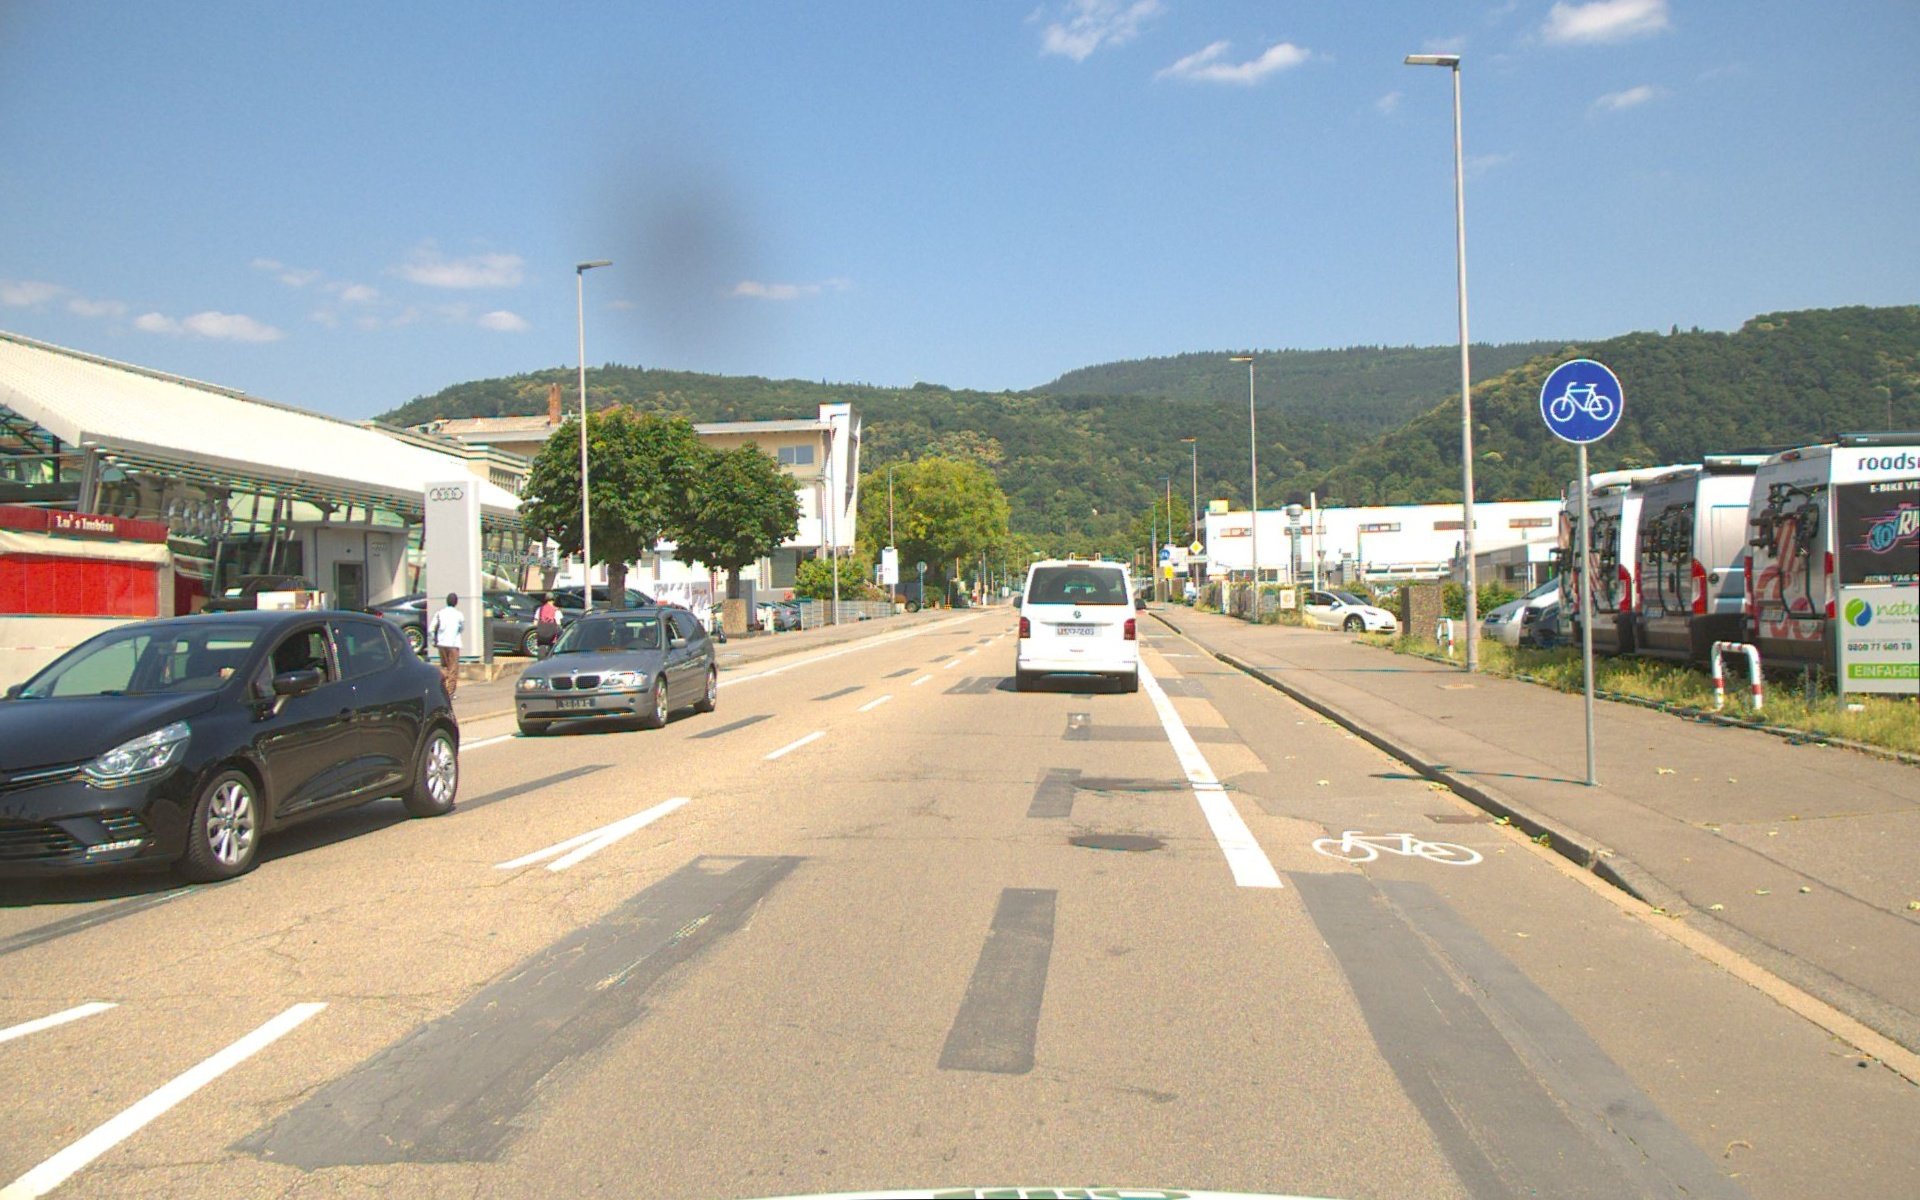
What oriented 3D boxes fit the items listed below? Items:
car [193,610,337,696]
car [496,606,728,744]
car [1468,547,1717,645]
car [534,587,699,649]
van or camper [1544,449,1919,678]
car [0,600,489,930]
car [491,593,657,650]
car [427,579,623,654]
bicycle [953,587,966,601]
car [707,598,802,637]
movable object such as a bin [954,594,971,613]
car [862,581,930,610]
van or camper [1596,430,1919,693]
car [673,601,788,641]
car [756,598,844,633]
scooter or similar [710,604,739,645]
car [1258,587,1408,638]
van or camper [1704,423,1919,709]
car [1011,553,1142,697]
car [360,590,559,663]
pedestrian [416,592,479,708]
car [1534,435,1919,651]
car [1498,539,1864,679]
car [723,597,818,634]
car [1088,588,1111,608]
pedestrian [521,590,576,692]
[{"bbox_3d":[-15.563,1.136,37.310,1.957,1.749,4.720,2,-1,-10],"label":"car"},{"bbox_3d":[-4.208,0.852,20.711,1.705,1.429,4.326,-3,0,3],"label":"car"},{"bbox_3d":[11.445,-0.072,30.137,3.839,1.621,1.799,-2,0,4],"label":"car"},{"bbox_3d":[-10.304,0.515,49.678,4.519,1.726,1.840,-1,0,-31],"label":"car"},{"bbox_3d":[11.391,-0.496,22.079,6.215,2.747,2.714,-2,0,5],"label":"van or camper"},{"bbox_3d":[-4.513,0.804,9.854,1.625,1.479,4.244,-4,0,8],"label":"car"},{"bbox_3d":[-10.696,0.585,45.857,4.147,1.521,1.855,0,-1,-31],"label":"car"},{"bbox_3d":[-11.010,0.423,41.905,4.422,1.636,1.946,2,2,-31],"label":"car"},{"bbox_3d":[-0.065,-0.516,139.120,1.005,1.137,2.766,1,0,2],"label":"bicycle"},{"bbox_3d":[-8.824,0.767,71.329,3.810,1.470,1.823,2,-2,0],"label":"car"},{"bbox_3d":[0.219,0.293,148.623,1.419,1.618,1.306,-2,0,-4],"label":"movable object such as a bin"},{"bbox_3d":[-4.296,-0.308,111.418,4.473,1.898,2.092,-1,0,0],"label":"car"},{"bbox_3d":[11.041,-0.482,19.224,6.215,2.763,2.714,-2,0,5],"label":"van or camper"},{"bbox_3d":[-9.541,0.869,69.002,4.429,1.483,1.901,-2,0,3],"label":"car"},{"bbox_3d":[-8.077,0.759,83.700,4.207,1.586,1.995,-2,0,1],"label":"car"},{"bbox_3d":[-7.375,0.760,51.866,0.729,1.269,1.490,-1,0,-3],"label":"scooter or similar"},{"bbox_3d":[13.263,0.465,59.057,2.007,1.650,4.969,5,-4,-42],"label":"car"},{"bbox_3d":[10.917,-0.401,16.164,6.065,2.568,2.620,-2,0,5],"label":"van or camper"},{"bbox_3d":[1.839,0.362,26.549,1.894,2.095,4.546,1,0,3],"label":"car"},{"bbox_3d":[-11.577,0.634,38.255,4.098,1.485,1.891,3,-3,-28],"label":"car"},{"bbox_3d":[-8.511,0.814,27.501,0.708,1.881,0.911,-2,0,0],"label":"pedestrian"},{"bbox_3d":[12.101,-0.841,24.863,6.097,2.919,2.321,-2,0,4],"label":"car"},{"bbox_3d":[11.842,0.139,27.460,5.124,1.986,2.001,-3,0,4],"label":"car"},{"bbox_3d":[-8.404,0.702,73.722,3.904,1.468,1.859,2,-2,2],"label":"car"},{"bbox_3d":[13.261,-0.184,157.668,1.952,1.780,4.001,-2,0,2],"label":"car"},{"bbox_3d":[-7.840,0.771,31.564,0.717,1.900,1.047,-2,0,0],"label":"pedestrian"}]
